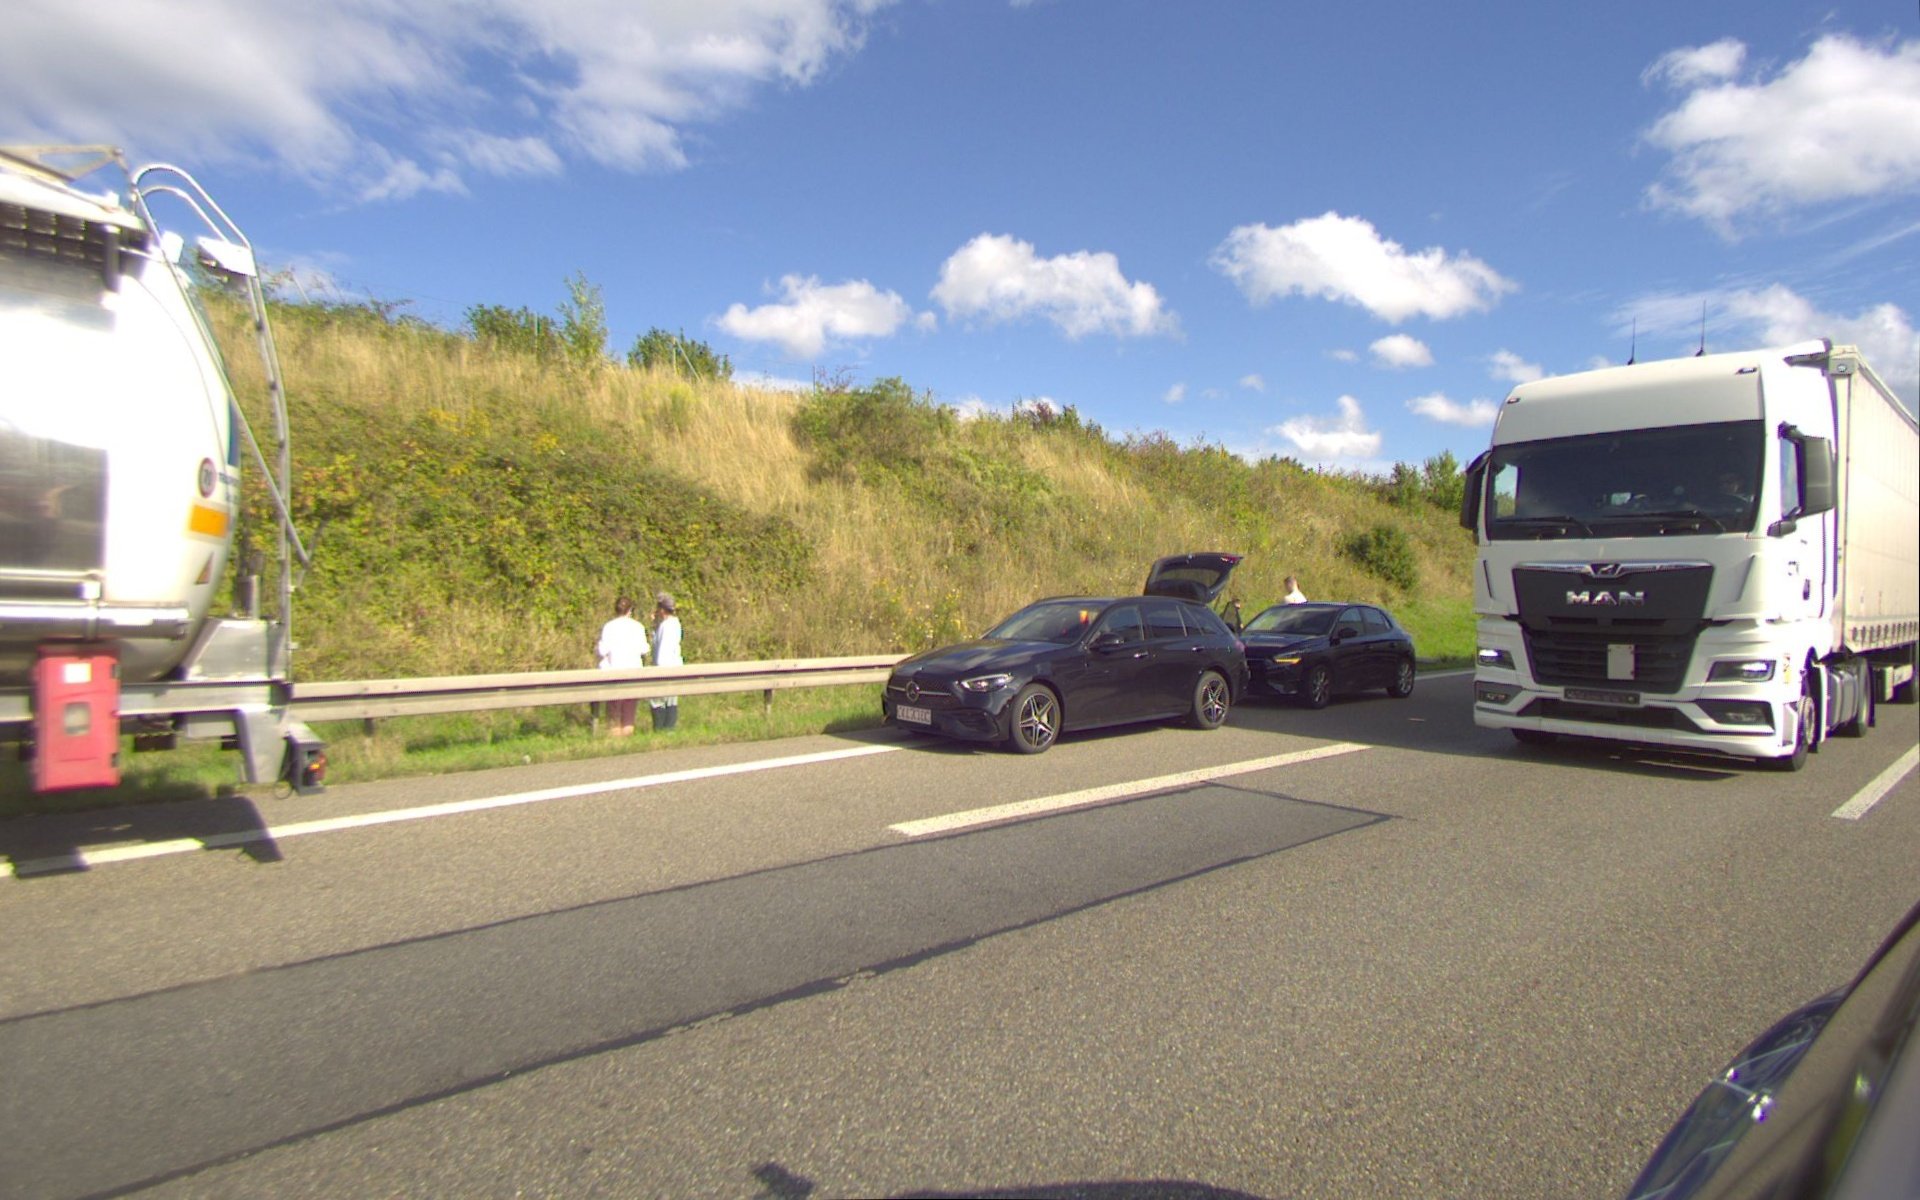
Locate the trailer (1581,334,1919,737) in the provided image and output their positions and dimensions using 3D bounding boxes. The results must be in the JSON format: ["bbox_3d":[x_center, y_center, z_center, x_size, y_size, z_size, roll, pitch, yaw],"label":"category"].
[{"bbox_3d":[13.312,-0.687,15.604,12.718,4.133,2.707,0,1,-41],"label":"trailer"}]

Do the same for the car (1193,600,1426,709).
[{"bbox_3d":[5.148,0.691,14.691,3.673,1.369,1.635,0,0,-42],"label":"car"}]

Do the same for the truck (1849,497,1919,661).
[{"bbox_3d":[25.505,-0.529,26.359,6.874,3.918,2.651,0,0,-41],"label":"truck"}]

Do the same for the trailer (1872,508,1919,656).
[{"bbox_3d":[30.620,-0.513,30.833,13.161,3.917,2.666,-1,0,-41],"label":"trailer"}]

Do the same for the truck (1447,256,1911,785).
[{"bbox_3d":[8.020,-0.661,10.964,6.251,4.110,2.713,0,1,-41],"label":"truck"}]

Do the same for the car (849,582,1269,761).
[{"bbox_3d":[1.245,0.604,10.959,4.656,1.532,1.903,0,0,-42],"label":"car"}]

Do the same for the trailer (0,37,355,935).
[{"bbox_3d":[-7.707,-0.450,2.478,10.441,3.643,2.546,-1,1,-41],"label":"trailer"}]

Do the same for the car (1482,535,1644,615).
[{"bbox_3d":[11.551,-0.434,19.308,3.673,1.369,1.662,0,0,-42],"label":"car"}]
